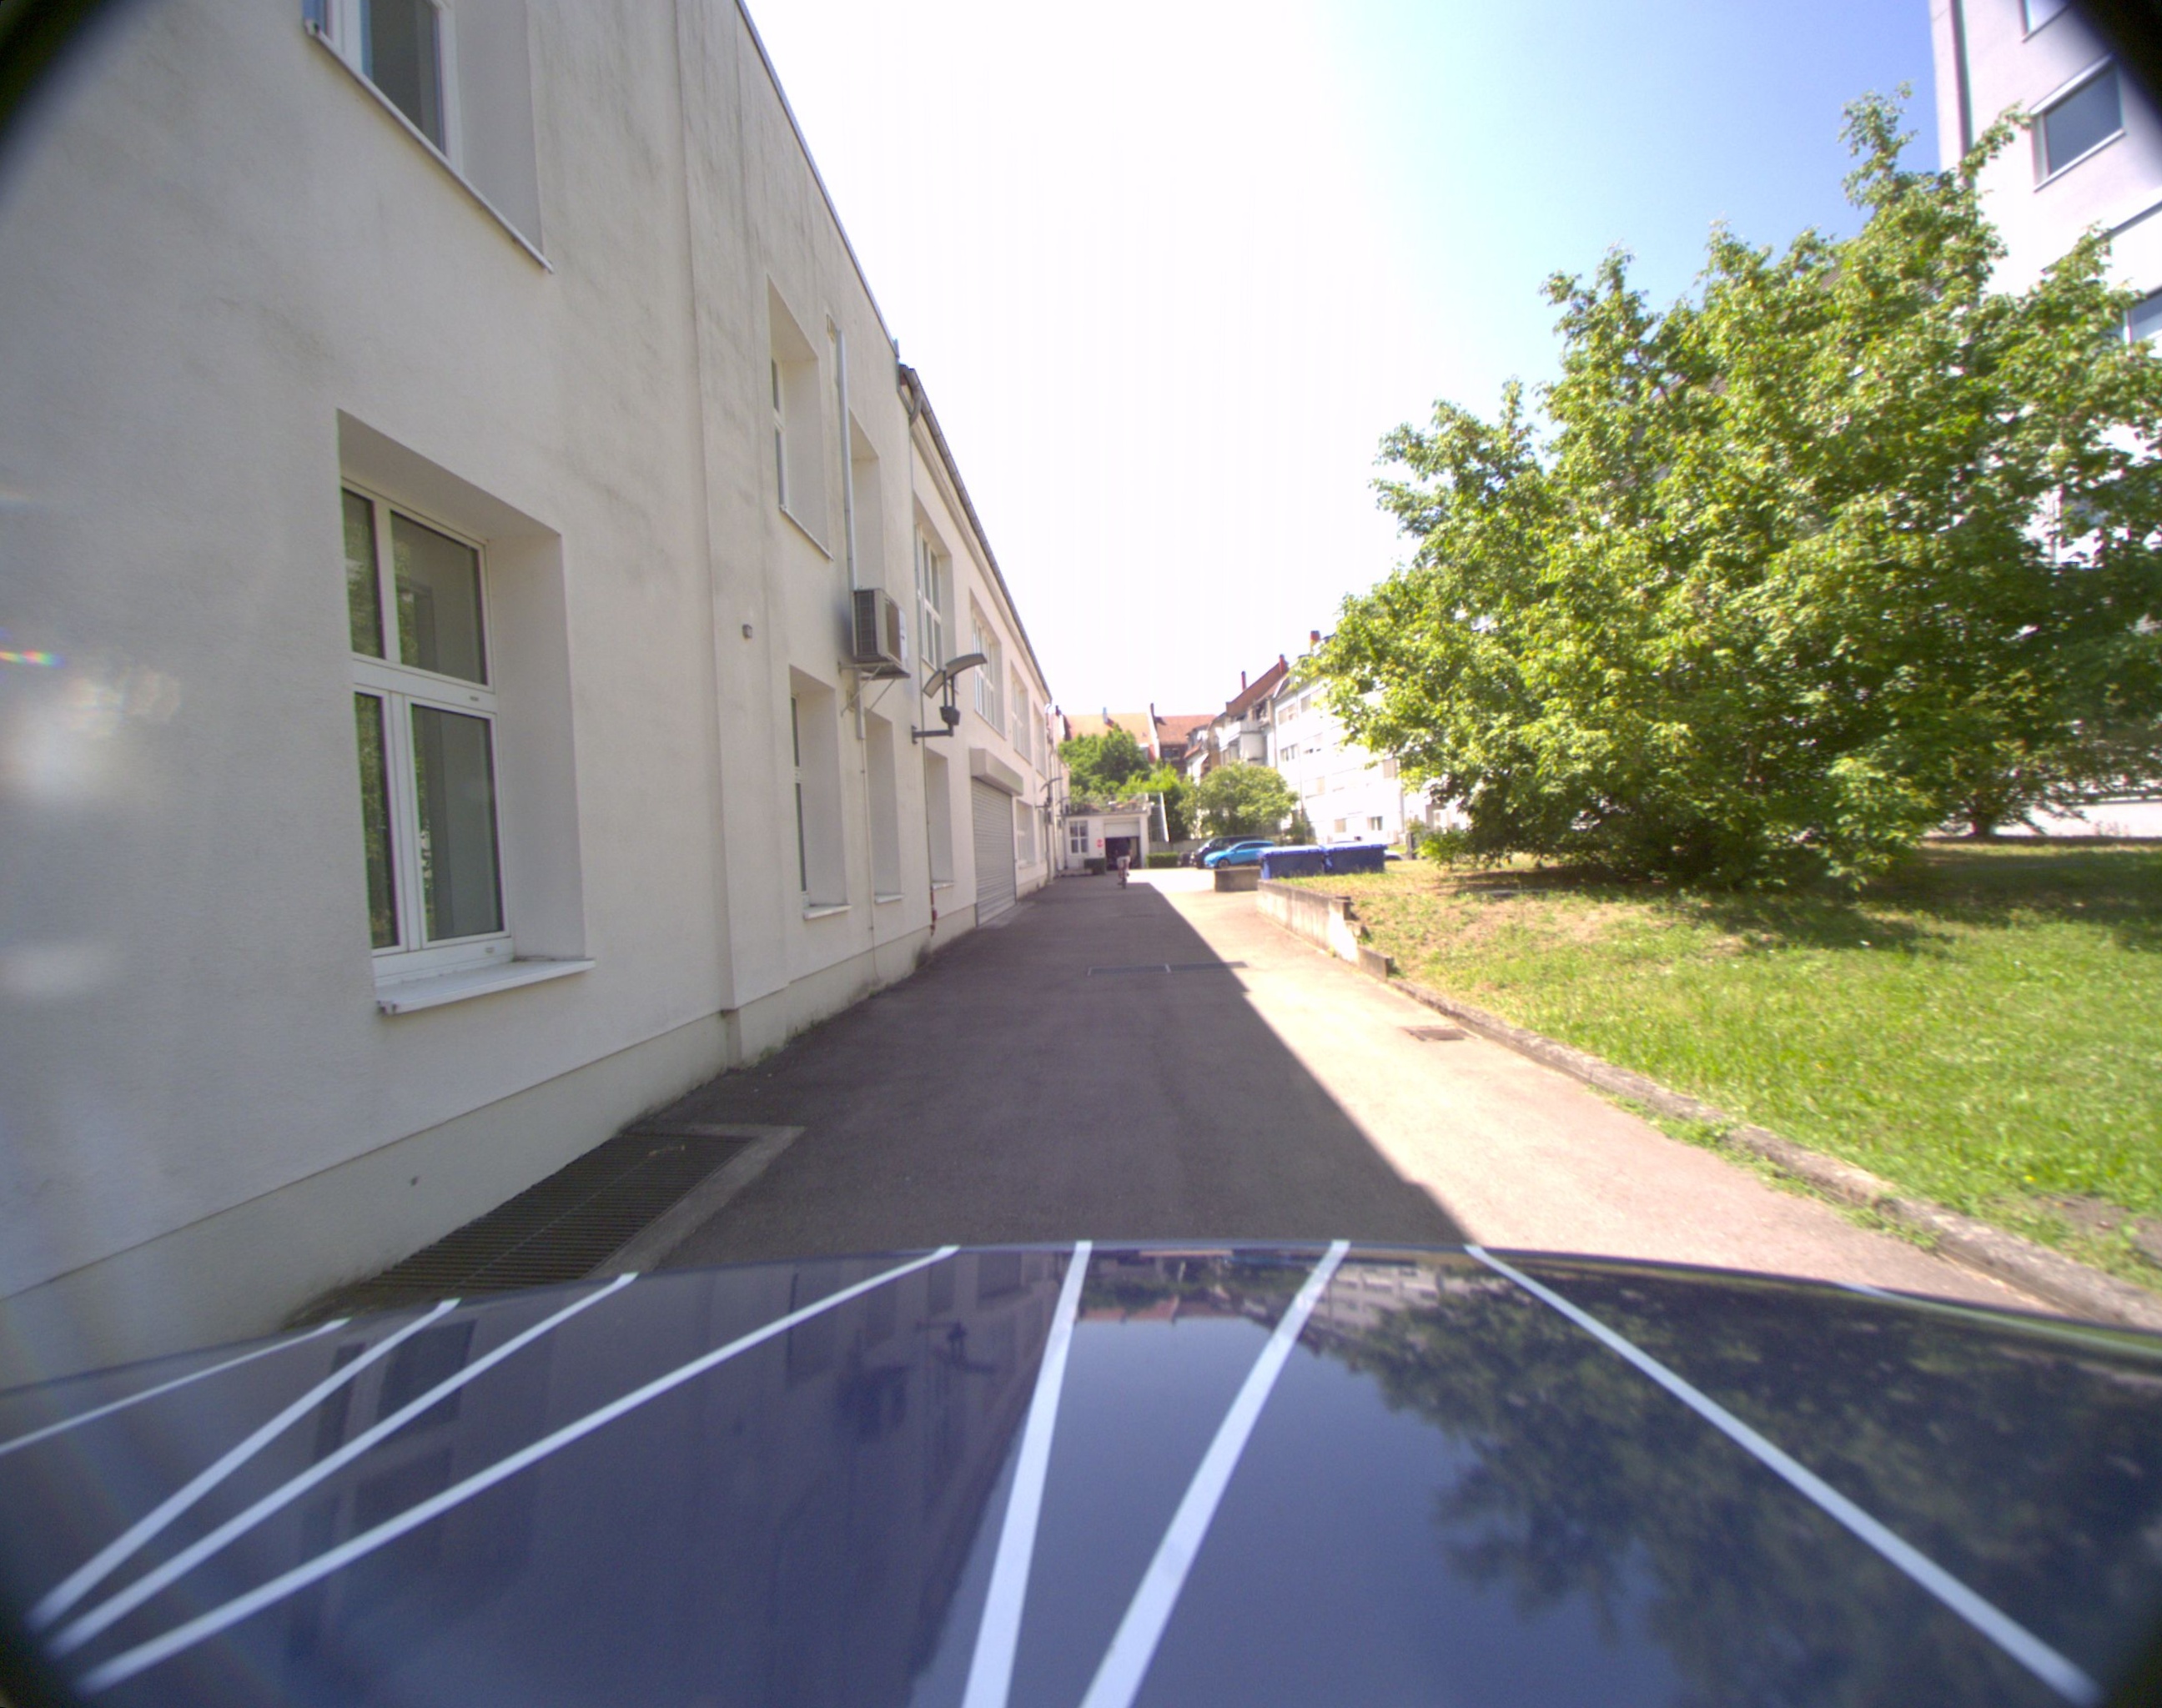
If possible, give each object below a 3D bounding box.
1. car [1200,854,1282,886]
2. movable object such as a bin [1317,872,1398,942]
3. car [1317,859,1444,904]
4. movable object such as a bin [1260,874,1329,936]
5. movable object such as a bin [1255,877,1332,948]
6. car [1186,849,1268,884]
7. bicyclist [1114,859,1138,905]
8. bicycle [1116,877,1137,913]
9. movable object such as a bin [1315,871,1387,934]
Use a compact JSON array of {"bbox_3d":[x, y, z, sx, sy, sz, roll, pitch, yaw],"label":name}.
[{"bbox_3d":[9.095,0.905,43.433,4.167,1.544,1.859,-3,0,-2],"label":"car"},{"bbox_3d":[5.748,1.080,15.891,1.257,1.320,1.104,-4,0,3],"label":"movable object such as a bin"},{"bbox_3d":[11.047,0.989,28.188,3.997,1.428,1.711,-2,0,-1],"label":"car"},{"bbox_3d":[4.940,1.167,17.695,1.257,1.320,1.104,-4,0,3],"label":"movable object such as a bin"},{"bbox_3d":[4.431,1.200,15.934,1.257,1.320,1.104,-4,0,3],"label":"movable object such as a bin"},{"bbox_3d":[8.810,0.734,46.142,4.448,1.821,2.000,-4,1,0],"label":"car"},{"bbox_3d":[1.618,1.003,27.459,0.724,1.600,0.978,-4,0,2],"label":"bicyclist"},{"bbox_3d":[1.645,1.476,27.586,0.645,1.167,1.905,-4,0,2],"label":"bicycle"},{"bbox_3d":[6.253,1.117,17.683,1.257,1.320,1.104,-4,0,3],"label":"movable object such as a bin"}]
